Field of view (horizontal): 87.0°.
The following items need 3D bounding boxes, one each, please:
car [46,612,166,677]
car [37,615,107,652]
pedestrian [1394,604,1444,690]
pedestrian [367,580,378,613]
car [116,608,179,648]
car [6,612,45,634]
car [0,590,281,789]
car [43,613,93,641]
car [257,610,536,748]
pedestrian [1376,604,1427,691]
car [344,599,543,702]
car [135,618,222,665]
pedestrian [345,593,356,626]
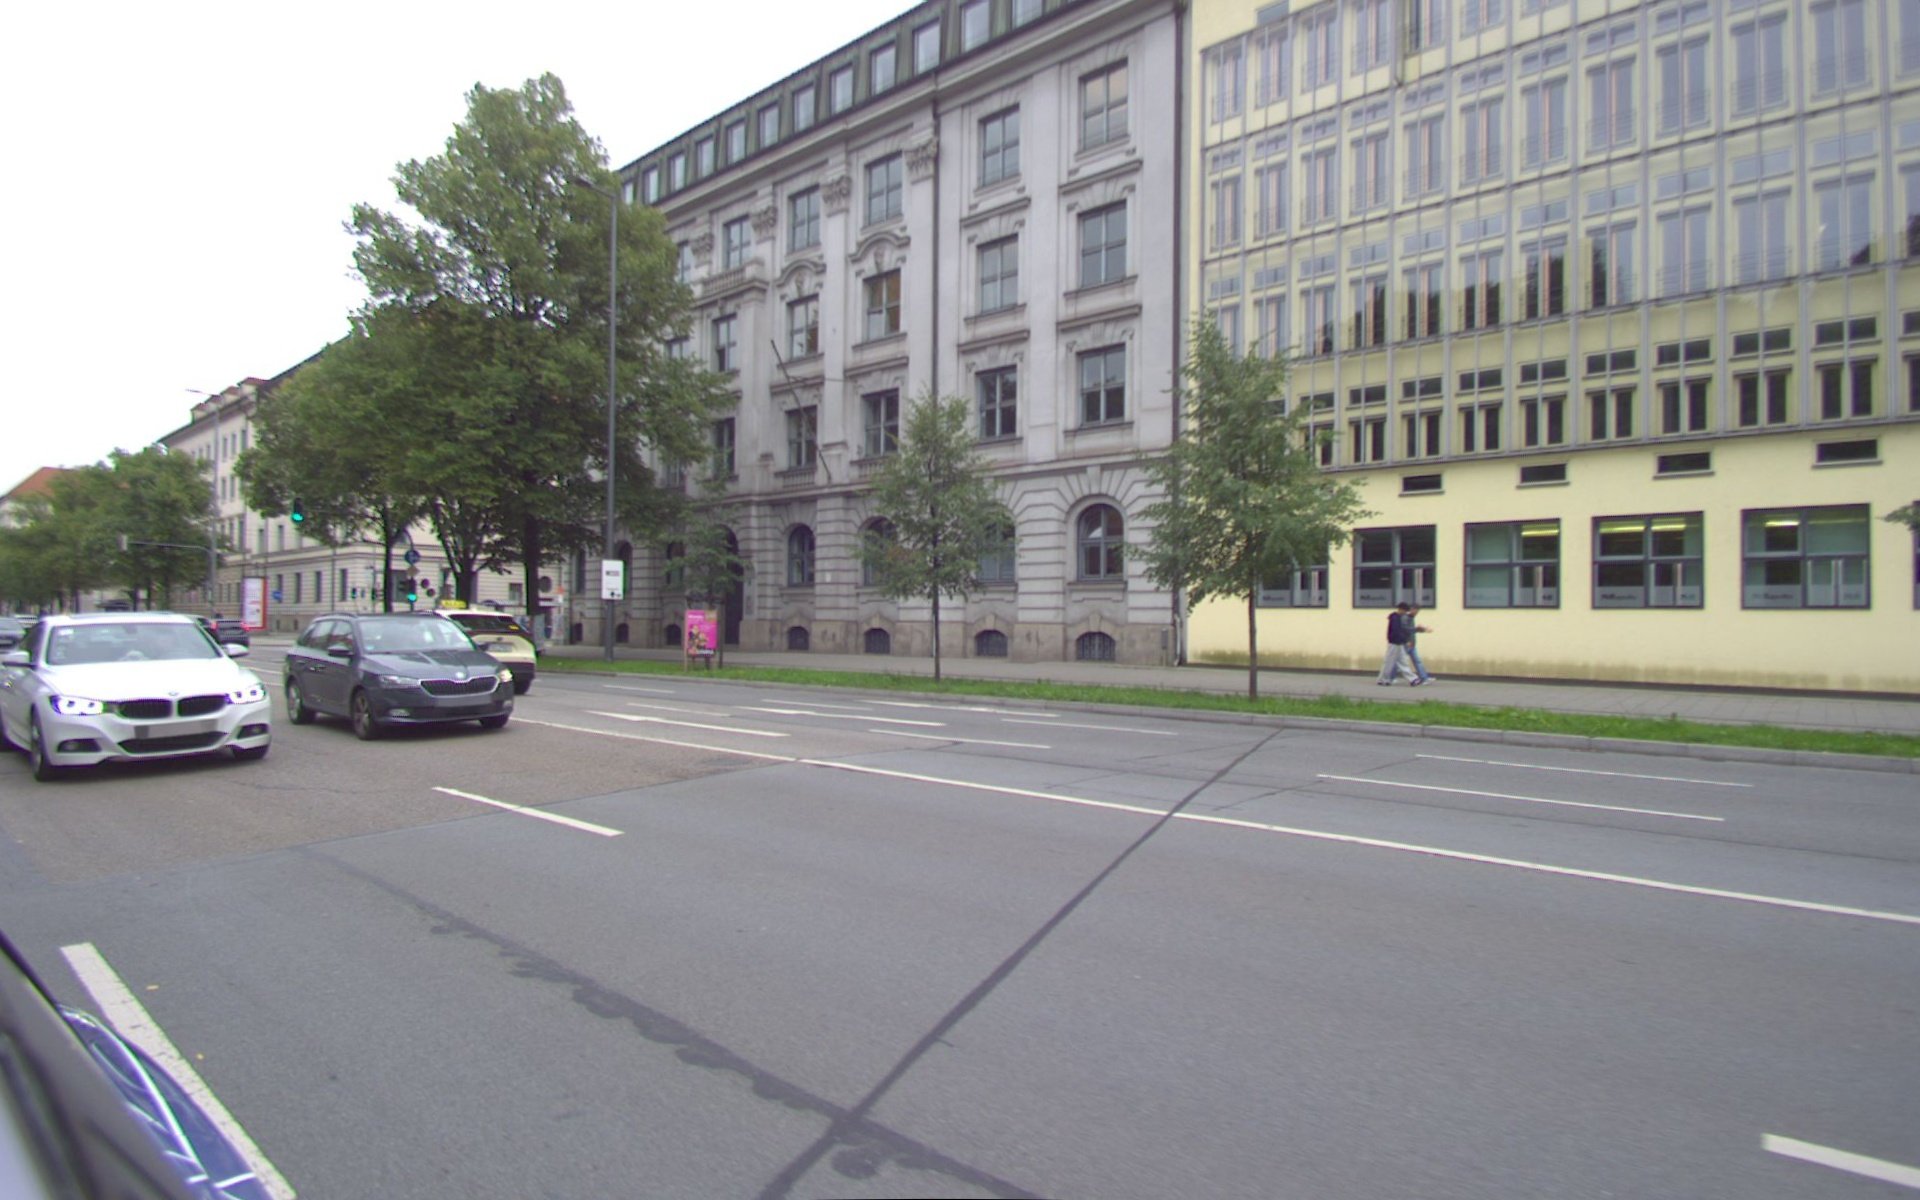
[{"bbox_3d":[-22.129,1.091,26.170,4.336,1.528,1.674,-1,-1,40],"label":"car"},{"bbox_3d":[-39.643,1.503,45.156,4.822,1.554,1.808,-3,-3,43],"label":"car"},{"bbox_3d":[9.830,0.987,21.684,0.835,1.790,0.609,-1,0,42],"label":"pedestrian"},{"bbox_3d":[-33.611,-0.219,57.873,0.494,1.869,0.471,1,-1,-30],"label":"pedestrian"},{"bbox_3d":[-39.673,1.366,49.388,4.262,1.763,1.807,1,-3,45],"label":"car"},{"bbox_3d":[-72.720,1.799,78.756,3.998,1.608,1.726,-1,-4,41],"label":"car"},{"bbox_3d":[-9.032,0.765,10.733,5.024,1.649,1.774,0,-1,41],"label":"car"},{"bbox_3d":[-57.043,1.699,64.672,4.349,1.668,1.820,0,-3,42],"label":"car"},{"bbox_3d":[-7.329,0.880,12.987,4.273,1.458,1.774,0,-1,41],"label":"car"},{"bbox_3d":[9.263,0.975,21.238,0.835,1.790,0.609,-1,0,42],"label":"pedestrian"},{"bbox_3d":[-10.083,0.930,19.592,4.628,1.762,1.837,-1,-3,42],"label":"car"},{"bbox_3d":[-25.885,1.351,33.448,1.746,1.434,4.751,4,-3,-44],"label":"car"},{"bbox_3d":[-34.426,0.551,57.196,0.494,1.869,0.529,1,-1,-30],"label":"pedestrian"}]
